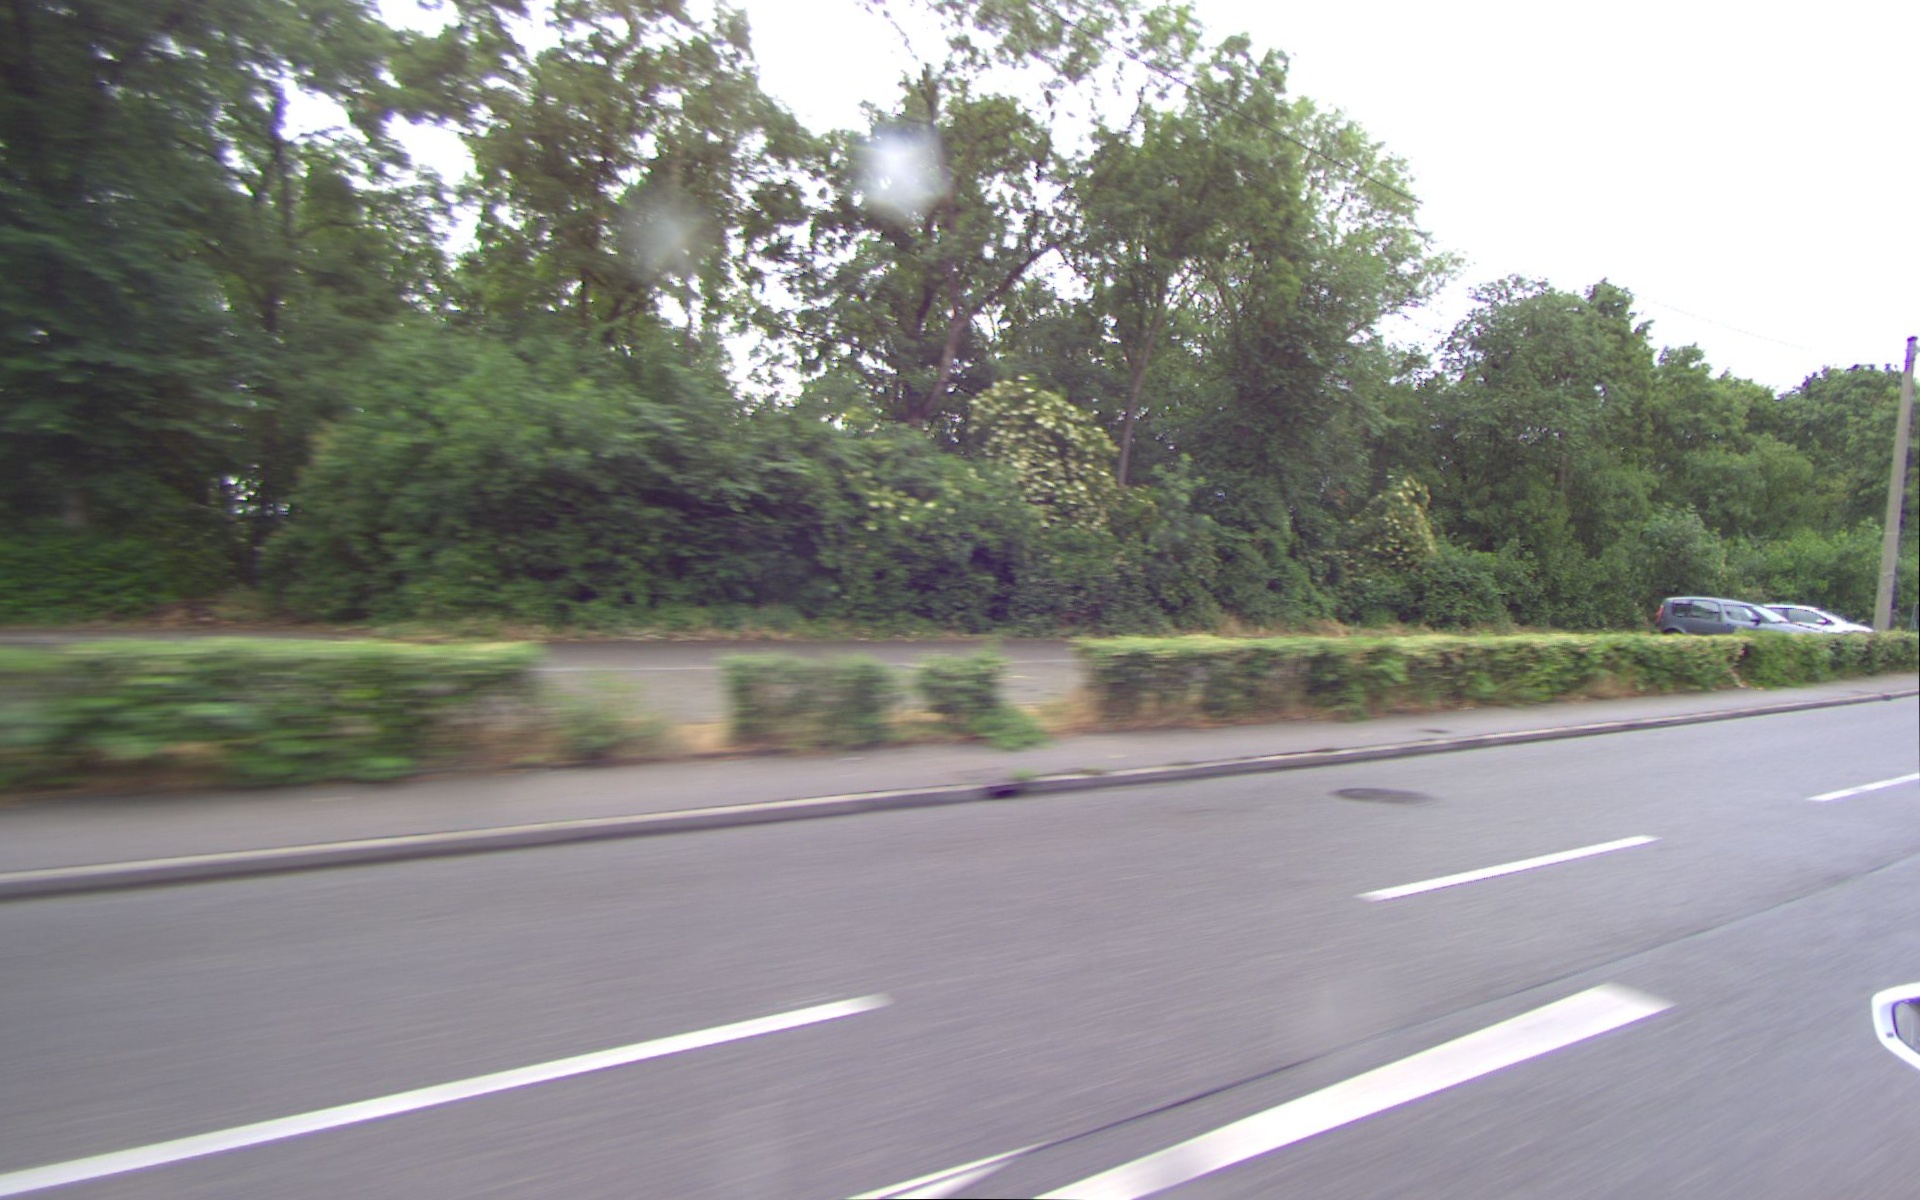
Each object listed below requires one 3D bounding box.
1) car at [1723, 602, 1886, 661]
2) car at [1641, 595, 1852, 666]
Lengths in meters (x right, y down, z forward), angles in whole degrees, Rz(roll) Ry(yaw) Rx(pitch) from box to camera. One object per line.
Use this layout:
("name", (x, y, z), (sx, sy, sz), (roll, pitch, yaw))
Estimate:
("car", (26.720, 0.958, 31.852), (1.835, 1.612, 3.616), (1, 2, -38))
("car", (22.201, 0.796, 28.543), (1.978, 1.731, 4.268), (1, 1, -31))
